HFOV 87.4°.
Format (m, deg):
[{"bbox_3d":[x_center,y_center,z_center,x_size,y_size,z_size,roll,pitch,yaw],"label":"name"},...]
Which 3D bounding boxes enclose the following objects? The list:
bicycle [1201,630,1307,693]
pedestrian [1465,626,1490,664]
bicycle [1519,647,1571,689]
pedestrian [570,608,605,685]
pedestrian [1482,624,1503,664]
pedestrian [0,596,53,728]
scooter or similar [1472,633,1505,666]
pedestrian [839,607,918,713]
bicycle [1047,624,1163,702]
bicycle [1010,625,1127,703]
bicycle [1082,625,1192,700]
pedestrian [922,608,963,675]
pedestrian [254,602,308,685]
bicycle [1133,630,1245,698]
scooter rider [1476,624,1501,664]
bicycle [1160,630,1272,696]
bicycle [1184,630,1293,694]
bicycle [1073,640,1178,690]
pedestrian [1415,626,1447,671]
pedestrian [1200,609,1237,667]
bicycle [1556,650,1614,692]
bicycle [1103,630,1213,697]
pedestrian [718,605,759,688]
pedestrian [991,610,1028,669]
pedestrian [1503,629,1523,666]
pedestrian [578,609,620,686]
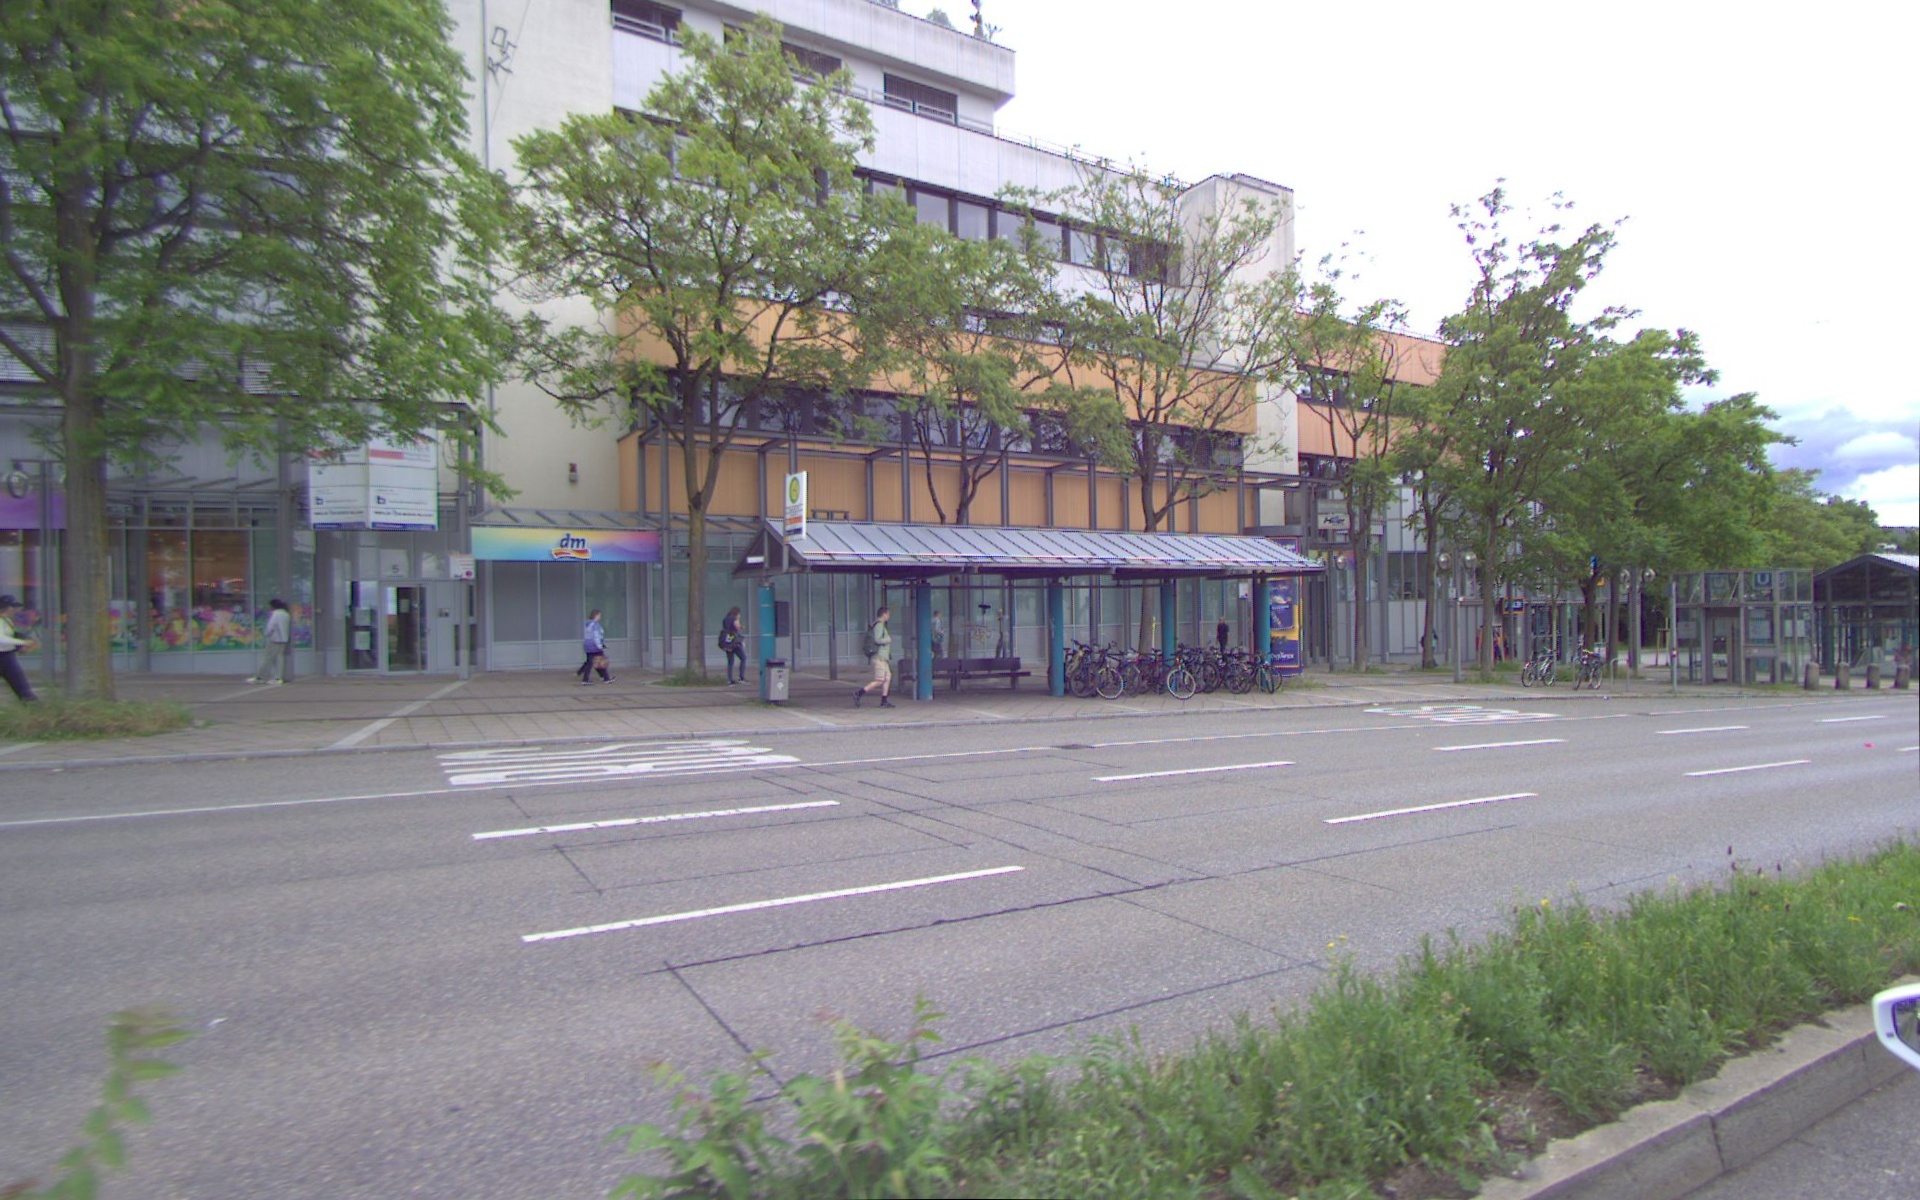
[{"bbox_3d":[7.364,1.510,25.380,0.592,1.526,2.882,1,-2,-33],"label":"bicycle"},{"bbox_3d":[21.655,1.878,42.042,0.817,1.607,0.630,2,-2,-35],"label":"pedestrian"},{"bbox_3d":[17.041,1.955,29.252,1.941,1.151,0.707,1,-2,-41],"label":"bicycle"},{"bbox_3d":[-8.133,1.001,21.919,0.615,1.621,0.629,1,0,-29],"label":"pedestrian"},{"bbox_3d":[23.800,1.958,44.895,0.673,1.750,0.561,1,-2,-34],"label":"pedestrian"},{"bbox_3d":[-12.847,0.817,13.594,0.699,1.736,0.771,1,1,-31],"label":"pedestrian"},{"bbox_3d":[21.208,1.994,40.324,1.270,1.284,0.478,1,1,-24],"label":"scooter or similar"},{"bbox_3d":[-1.468,1.063,18.143,1.199,1.847,0.700,2,0,-29],"label":"pedestrian"},{"bbox_3d":[3.233,1.372,22.778,0.882,1.527,2.881,1,1,-33],"label":"bicycle"},{"bbox_3d":[2.350,1.363,22.219,0.962,1.527,2.881,1,0,-33],"label":"bicycle"},{"bbox_3d":[4.050,1.394,23.321,0.802,1.527,2.883,1,1,-32],"label":"bicycle"},{"bbox_3d":[-0.469,1.101,27.000,0.782,1.739,0.765,1,1,-34],"label":"pedestrian"},{"bbox_3d":[-13.595,0.862,20.124,0.610,1.621,0.634,1,0,5],"label":"pedestrian"},{"bbox_3d":[5.438,1.480,24.068,0.797,1.526,2.882,1,-2,-33],"label":"bicycle"},{"bbox_3d":[21.231,1.753,40.331,0.697,1.566,0.523,1,1,-24],"label":"scooter rider"},{"bbox_3d":[6.216,1.491,24.613,0.770,1.526,2.882,1,-2,-33],"label":"bicycle"},{"bbox_3d":[6.898,1.504,25.083,0.693,1.526,2.882,1,-2,-33],"label":"bicycle"},{"bbox_3d":[4.004,1.550,24.577,0.797,1.127,2.882,1,-2,-33],"label":"bicycle"},{"bbox_3d":[18.436,1.883,39.283,0.878,1.739,0.765,1,1,-34],"label":"pedestrian"},{"bbox_3d":[9.247,1.366,35.897,0.924,2.040,0.891,1,-2,-31],"label":"pedestrian"},{"bbox_3d":[17.641,1.986,28.322,1.920,1.098,0.823,1,-2,-40],"label":"bicycle"},{"bbox_3d":[4.677,1.469,24.014,0.797,1.526,2.882,1,-2,-33],"label":"bicycle"},{"bbox_3d":[-4.755,0.985,21.638,0.772,1.739,0.775,1,1,-8],"label":"pedestrian"},{"bbox_3d":[1.500,1.174,30.374,0.781,1.739,0.766,1,1,-31],"label":"pedestrian"},{"bbox_3d":[24.425,2.107,44.397,0.673,1.610,0.514,1,-2,-34],"label":"pedestrian"},{"bbox_3d":[-7.686,0.998,21.392,0.699,1.605,0.662,1,1,-31],"label":"pedestrian"}]
